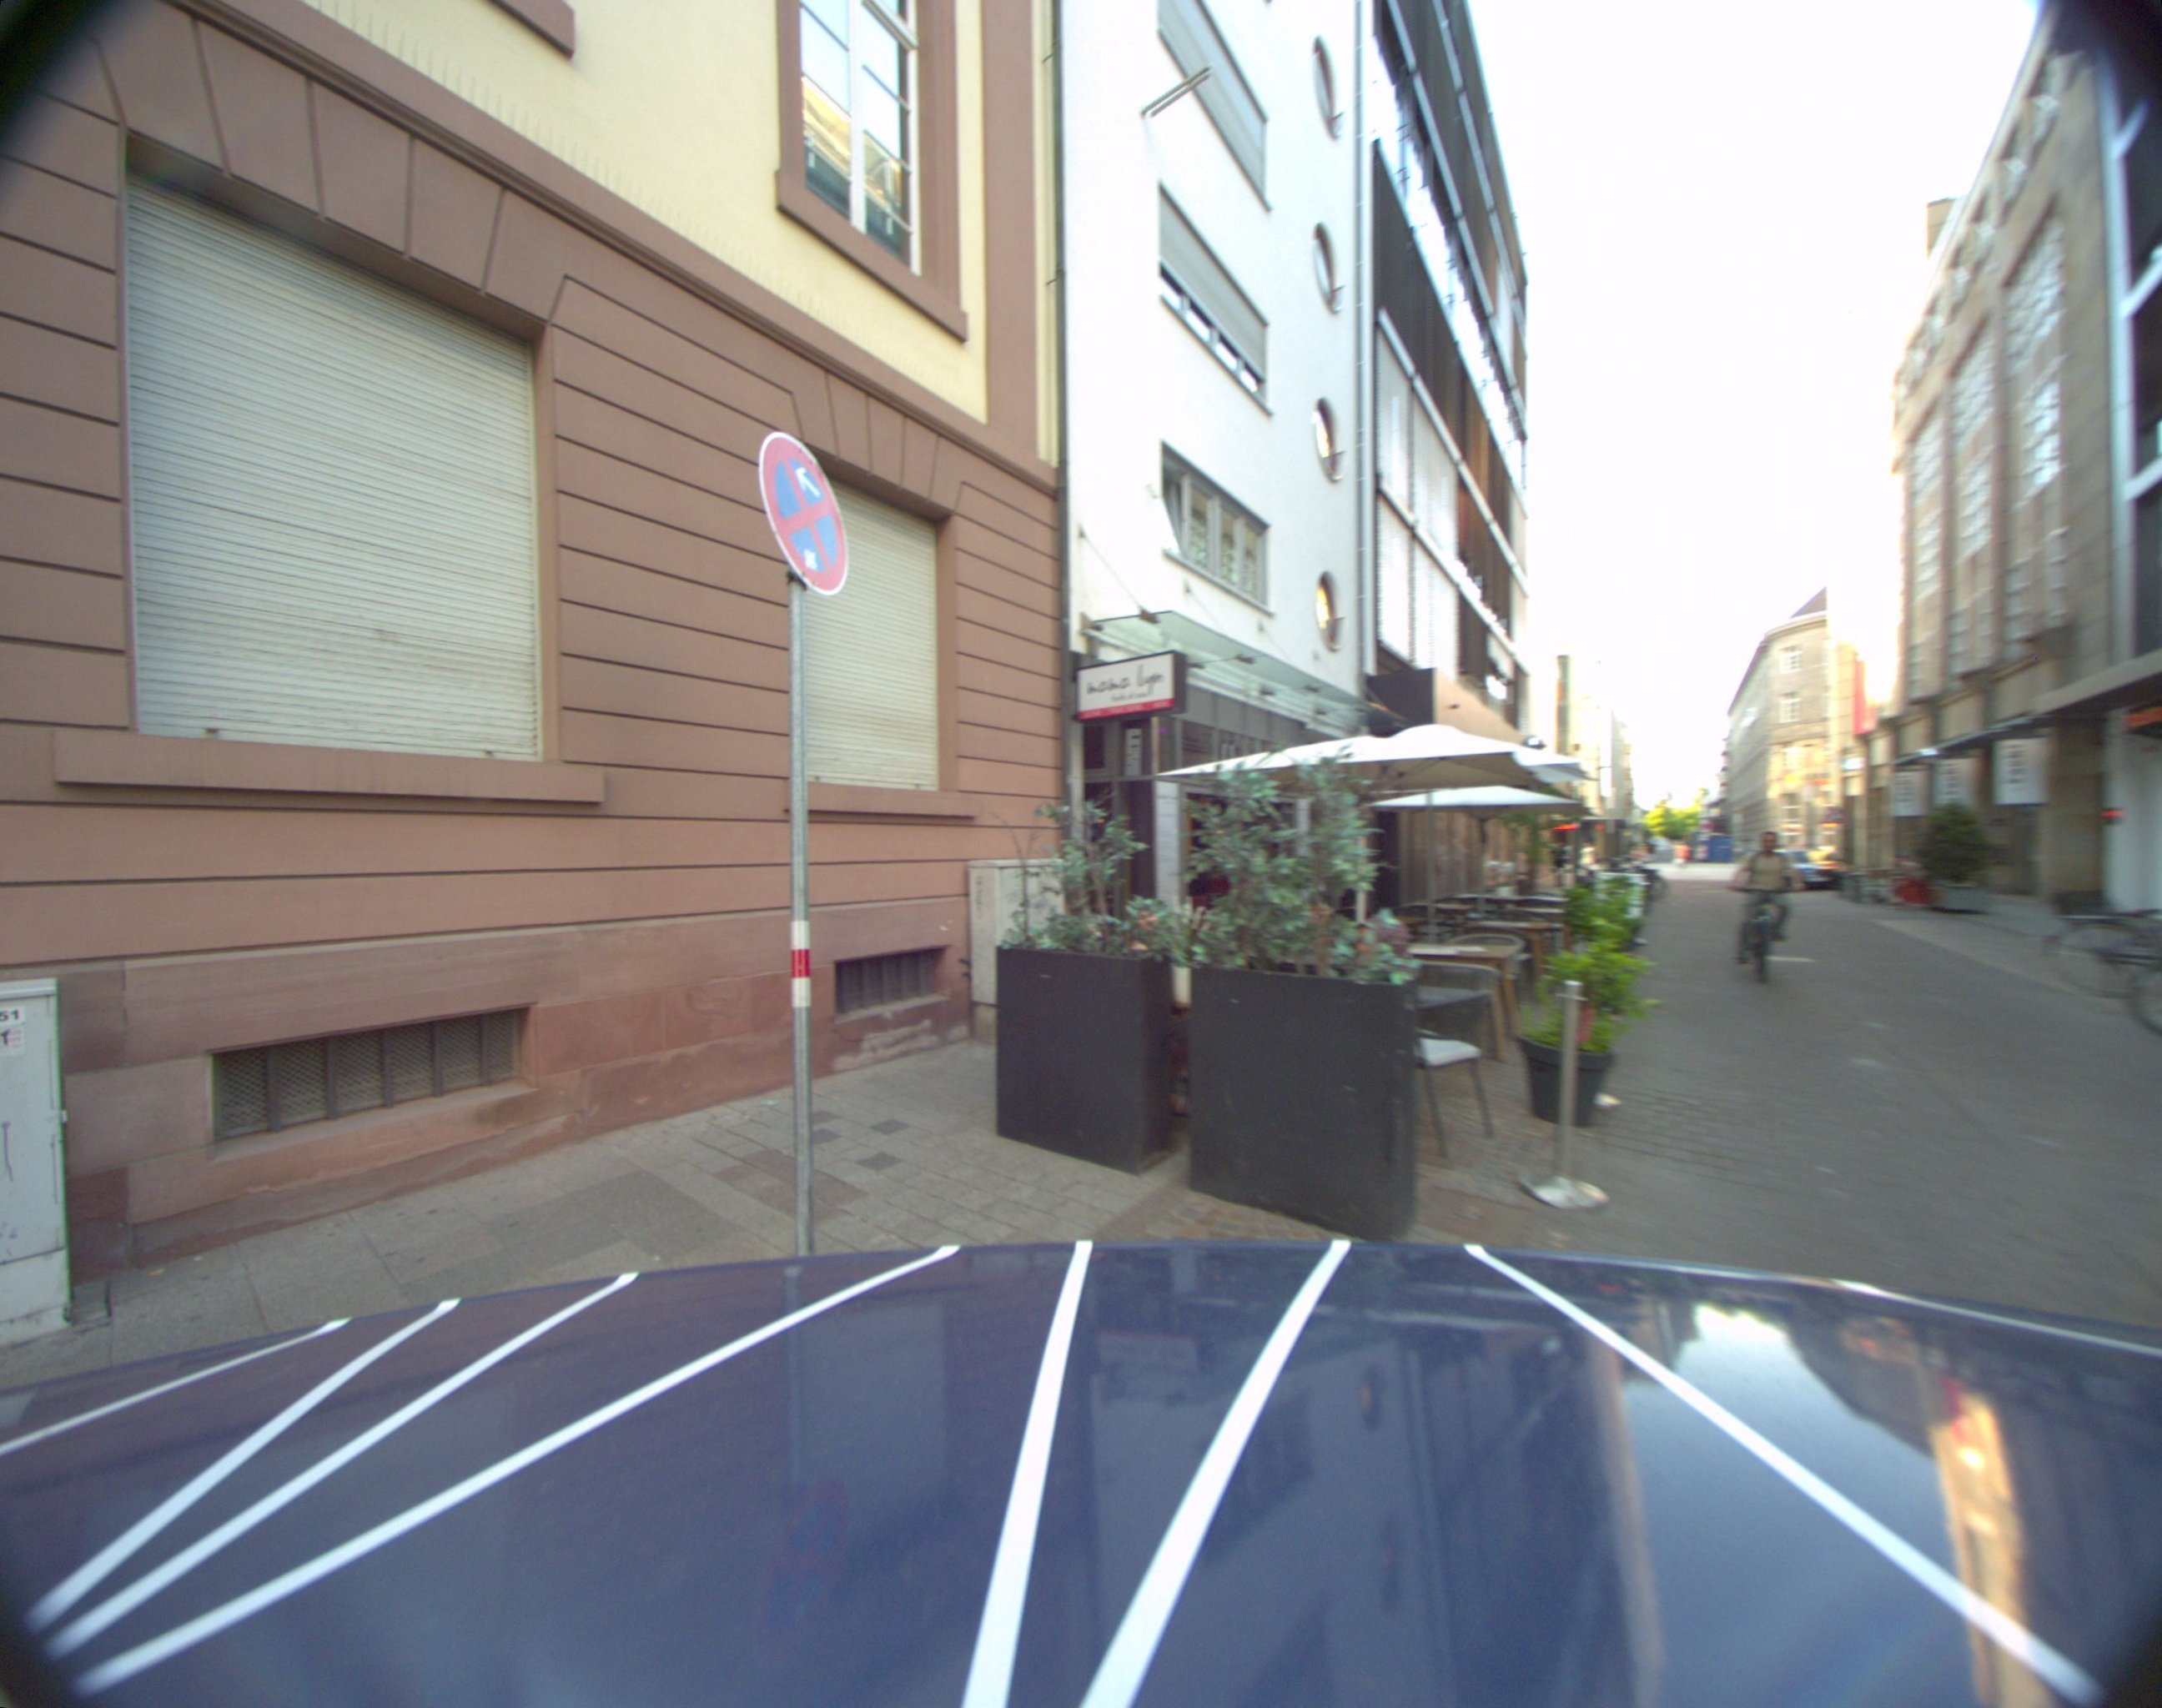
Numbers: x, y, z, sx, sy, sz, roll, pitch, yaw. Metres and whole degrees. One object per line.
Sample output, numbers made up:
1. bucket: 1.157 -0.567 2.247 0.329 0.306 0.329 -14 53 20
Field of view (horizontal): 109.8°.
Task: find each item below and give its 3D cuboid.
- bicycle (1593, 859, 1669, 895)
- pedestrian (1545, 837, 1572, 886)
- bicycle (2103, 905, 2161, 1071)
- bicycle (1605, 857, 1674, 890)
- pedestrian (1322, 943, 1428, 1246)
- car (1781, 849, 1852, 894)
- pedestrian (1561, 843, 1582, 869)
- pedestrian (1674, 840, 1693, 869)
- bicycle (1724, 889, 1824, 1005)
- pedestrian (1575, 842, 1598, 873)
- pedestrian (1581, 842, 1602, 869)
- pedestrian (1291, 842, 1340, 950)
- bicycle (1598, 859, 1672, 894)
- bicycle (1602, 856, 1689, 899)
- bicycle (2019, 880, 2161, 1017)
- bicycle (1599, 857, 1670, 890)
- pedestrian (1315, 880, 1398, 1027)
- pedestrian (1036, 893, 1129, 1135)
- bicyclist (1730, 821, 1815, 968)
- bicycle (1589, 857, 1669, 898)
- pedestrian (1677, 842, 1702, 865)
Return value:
1. bicycle: 18.382 0.742 25.429 2.034 1.161 0.620 0 1 37
2. pedestrian: 17.982 0.265 28.614 0.802 1.826 0.676 0 2 40
3. bicycle: 8.650 0.939 5.180 1.898 1.174 0.518 -3 -2 37
4. bicycle: 20.803 0.707 28.332 2.034 1.209 0.620 0 1 37
5. pedestrian: 1.333 1.035 3.430 0.399 1.206 0.384 0 1 28
6. car: 25.391 0.550 26.314 1.599 1.415 3.611 0 1 42
7. pedestrian: 29.152 0.110 45.157 0.783 1.516 0.635 -1 2 -13
8. pedestrian: 34.851 0.032 43.969 0.763 1.629 0.670 0 2 30
9. bicycle: 8.268 1.042 9.136 0.698 1.121 2.009 0 1 37
10. pedestrian: 26.616 0.167 40.043 0.782 1.612 0.635 -1 2 -2
11. pedestrian: 30.143 0.078 44.888 0.636 1.612 0.782 -1 2 -11
12. pedestrian: 3.968 0.680 12.833 0.638 1.762 0.603 0 1 33
13. bicycle: 19.114 0.747 26.258 2.034 1.161 0.620 0 1 37
14. bicycle: 17.059 0.681 22.992 2.033 1.161 0.667 3 3 37
15. bicycle: 10.521 0.882 7.214 1.899 1.262 0.539 -4 -1 38
16. bicycle: 19.961 0.678 27.443 2.034 1.161 0.620 0 1 37
17. pedestrian: 2.927 1.006 8.041 0.574 1.412 0.870 0 1 39
18. pedestrian: 0.019 0.892 4.453 0.362 1.298 0.496 0 1 24
19. bicyclist: 8.246 0.453 9.096 0.674 1.660 0.871 0 1 37
20. bicycle: 17.627 0.726 24.475 2.033 1.161 0.620 4 3 37
21. pedestrian: 42.020 -0.020 52.482 0.993 1.563 0.919 -1 1 -8
